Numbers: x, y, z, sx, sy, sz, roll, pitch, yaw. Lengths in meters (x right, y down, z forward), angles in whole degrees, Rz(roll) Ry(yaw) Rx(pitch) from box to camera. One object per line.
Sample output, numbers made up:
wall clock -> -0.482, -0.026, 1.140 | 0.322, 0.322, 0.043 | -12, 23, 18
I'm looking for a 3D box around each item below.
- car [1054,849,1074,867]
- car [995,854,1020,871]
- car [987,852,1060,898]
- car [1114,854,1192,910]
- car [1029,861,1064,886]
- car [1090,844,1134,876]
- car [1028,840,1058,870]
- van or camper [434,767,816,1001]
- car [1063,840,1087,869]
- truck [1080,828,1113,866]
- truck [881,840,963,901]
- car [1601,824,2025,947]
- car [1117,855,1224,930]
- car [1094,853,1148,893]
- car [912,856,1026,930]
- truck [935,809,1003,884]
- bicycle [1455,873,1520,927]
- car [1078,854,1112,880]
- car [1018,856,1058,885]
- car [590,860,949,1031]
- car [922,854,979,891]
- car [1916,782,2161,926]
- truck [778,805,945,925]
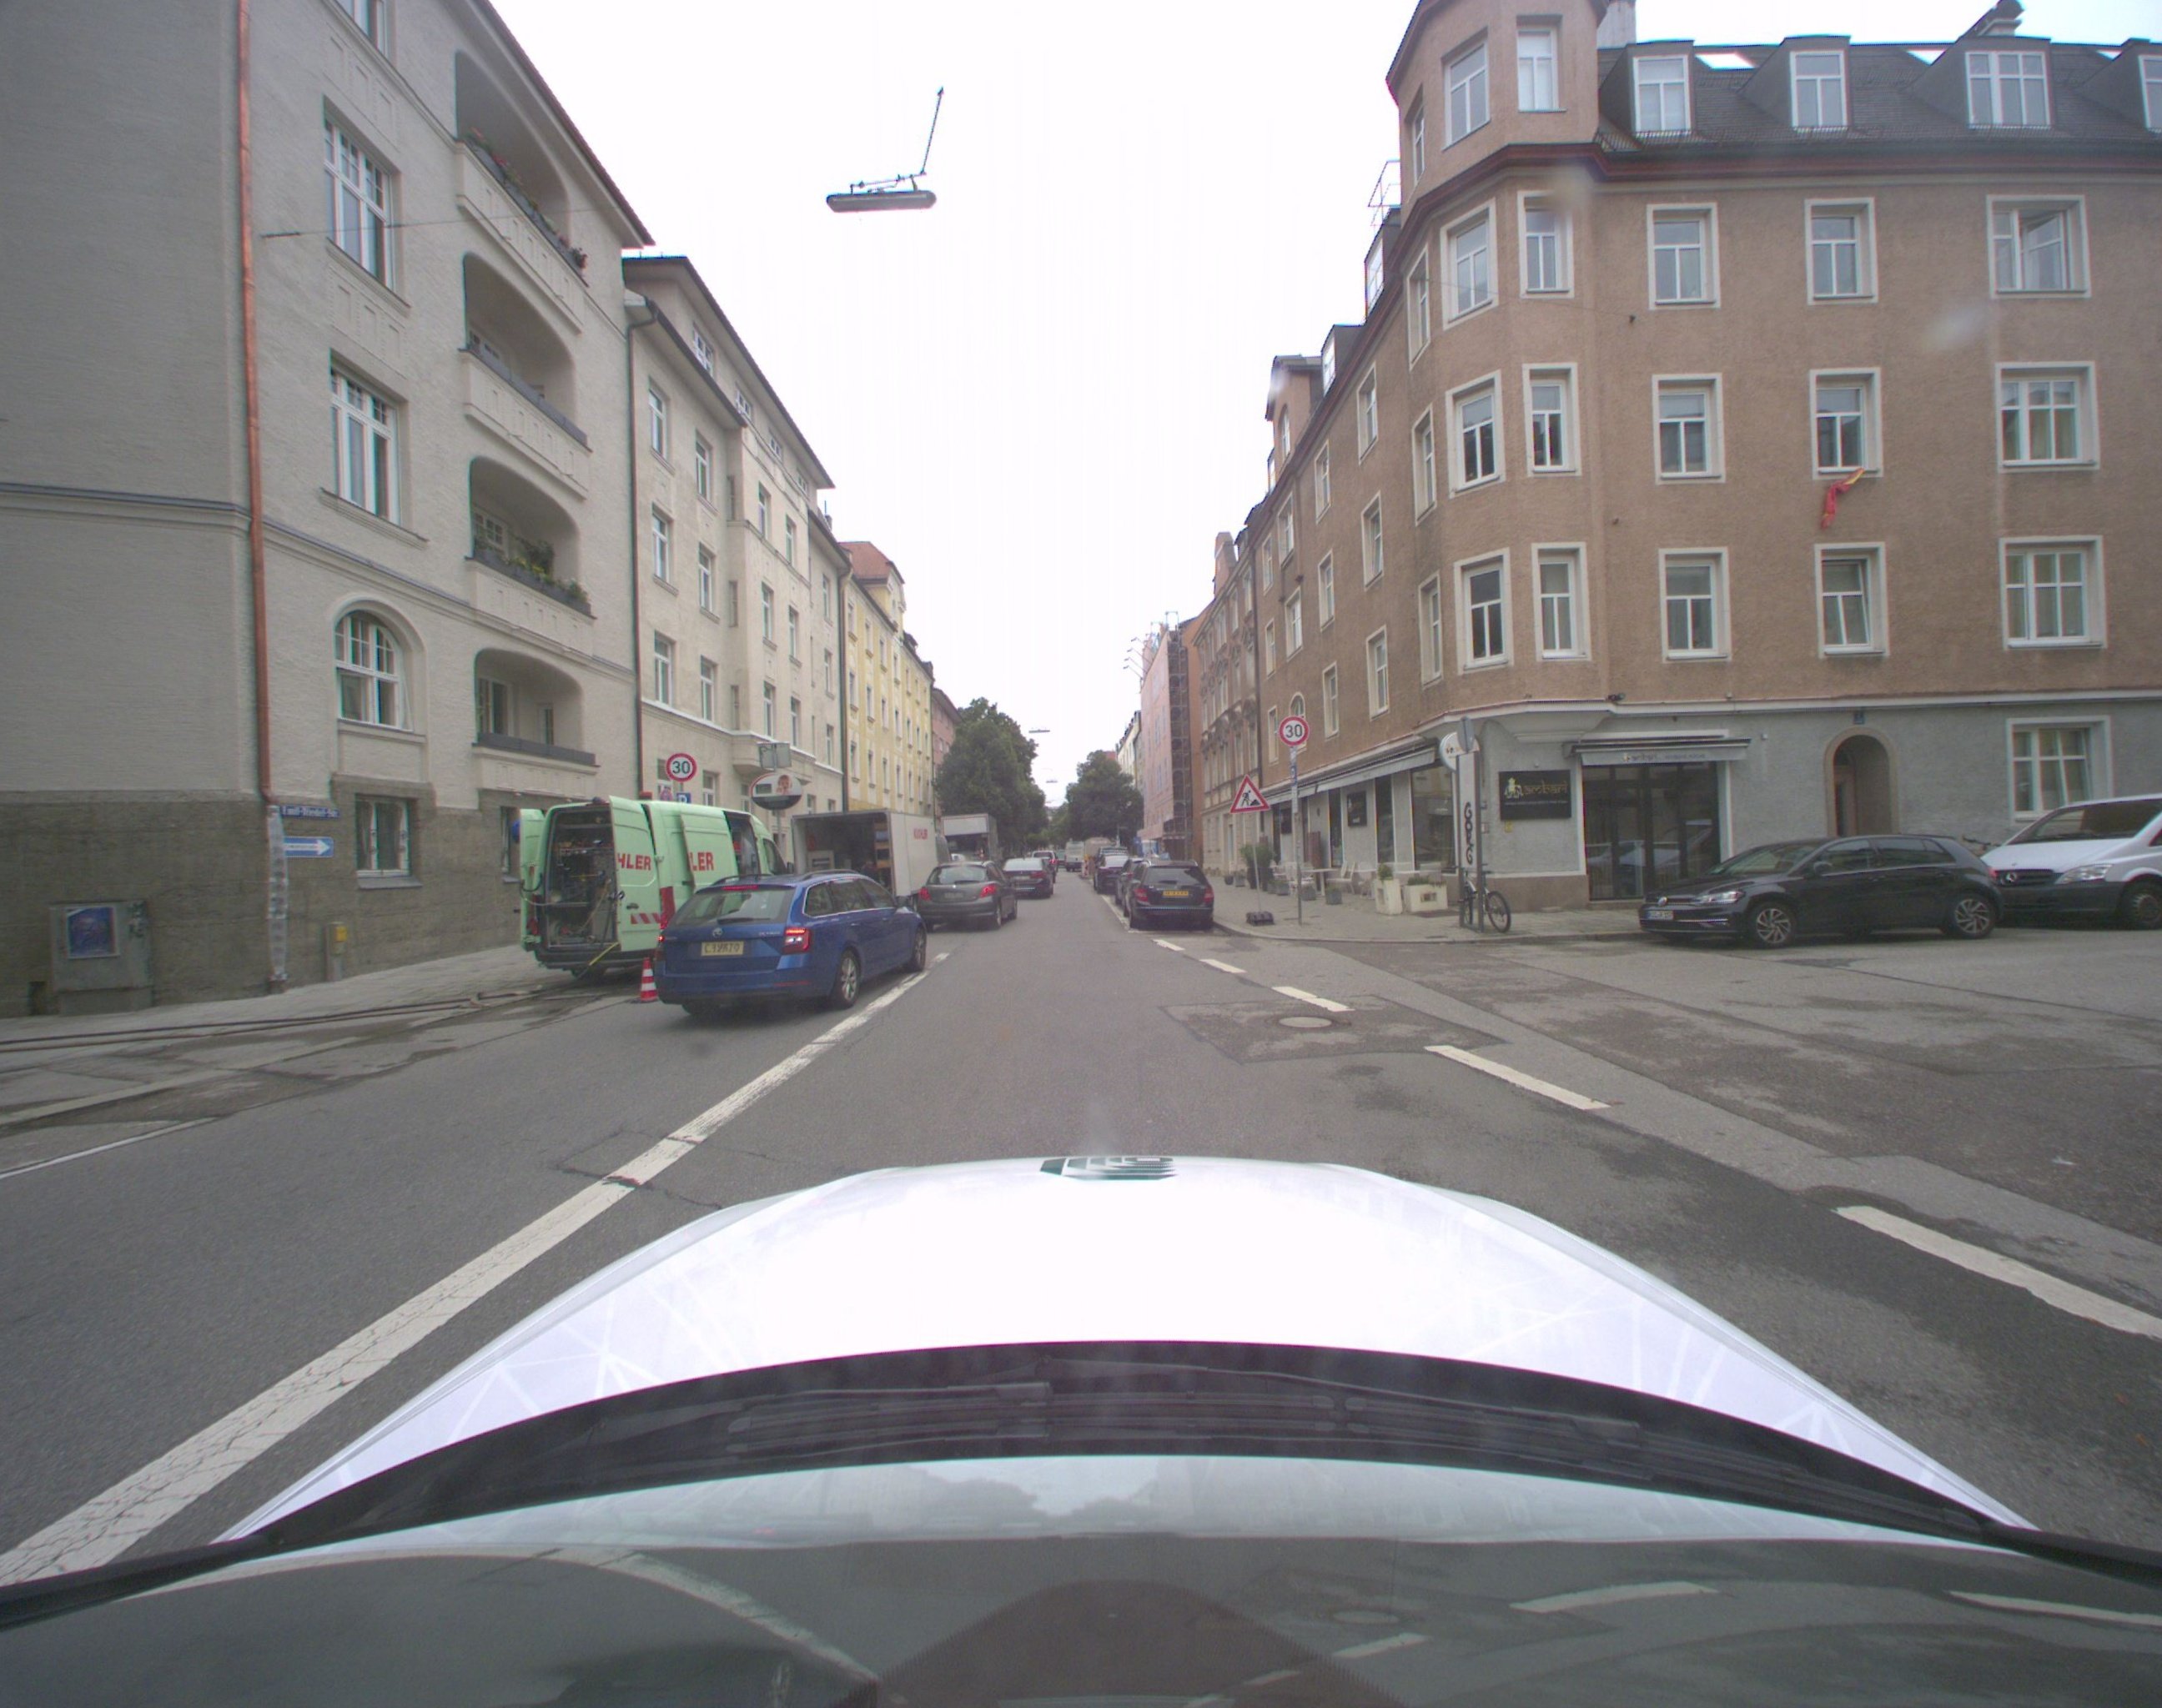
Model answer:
car -> -1.887, 0.452, 91.086 | 1.986, 1.904, 4.002 | -1, 0, 2
car -> -6.610, 0.733, 73.493 | 1.934, 1.448, 3.864 | -1, 0, -1
car -> -1.998, 0.712, 29.897 | 1.981, 1.429, 4.911 | -1, 1, 4
car -> 2.041, 0.766, 24.226 | 1.839, 1.429, 4.138 | 1, 1, -2
car -> -2.165, 1.216, 52.314 | 1.983, 1.429, 4.140 | -2, 1, 0
car -> 1.496, 0.253, 40.757 | 1.983, 1.429, 4.140 | -2, 1, 0
car -> -2.784, 0.057, 60.866 | 1.983, 2.075, 4.140 | -2, 1, 0
van or camper -> -6.689, 0.334, 13.260 | 2.592, 2.840, 6.186 | -2, 1, 0
car -> -0.531, 0.082, 73.694 | 1.932, 2.480, 4.784 | -1, 0, 1
truck -> 1.244, -0.552, 66.718 | 2.484, 2.973, 5.325 | -1, 0, -1
truck -> -6.105, 0.608, 31.867 | 2.280, 2.171, 4.804 | -1, 0, -1
car -> 9.992, 0.429, 11.396 | 4.156, 1.429, 1.924 | -2, -2, 0
car -> 1.887, 0.777, 18.379 | 1.839, 1.429, 4.181 | 1, 1, -2
car -> 1.553, 0.727, 32.764 | 1.839, 1.429, 4.304 | 1, 1, -2
car -> -2.418, 0.799, 18.629 | 1.751, 1.461, 4.078 | -2, 0, 3
truck -> -6.298, -0.388, 46.842 | 3.004, 3.951, 6.990 | -1, 0, -2
bicycle -> 6.777, 0.749, 13.640 | 0.455, 0.805, 1.327 | -1, 0, 2
car -> 0.874, 0.752, 50.559 | 1.983, 1.429, 4.140 | -2, 1, 0
car -> -2.373, 0.882, 46.164 | 1.983, 1.429, 4.140 | -2, 1, 0
car -> -3.192, 0.854, 9.640 | 1.977, 1.454, 4.742 | -3, -1, 6
car -> -6.223, 0.848, 39.241 | 1.983, 1.610, 4.140 | -1, 0, 0
car -> 15.746, -0.040, 11.785 | 5.111, 1.854, 2.099 | -2, -2, 0
truck -> -6.039, 0.224, 23.787 | 2.764, 2.873, 7.202 | -2, 1, 0
